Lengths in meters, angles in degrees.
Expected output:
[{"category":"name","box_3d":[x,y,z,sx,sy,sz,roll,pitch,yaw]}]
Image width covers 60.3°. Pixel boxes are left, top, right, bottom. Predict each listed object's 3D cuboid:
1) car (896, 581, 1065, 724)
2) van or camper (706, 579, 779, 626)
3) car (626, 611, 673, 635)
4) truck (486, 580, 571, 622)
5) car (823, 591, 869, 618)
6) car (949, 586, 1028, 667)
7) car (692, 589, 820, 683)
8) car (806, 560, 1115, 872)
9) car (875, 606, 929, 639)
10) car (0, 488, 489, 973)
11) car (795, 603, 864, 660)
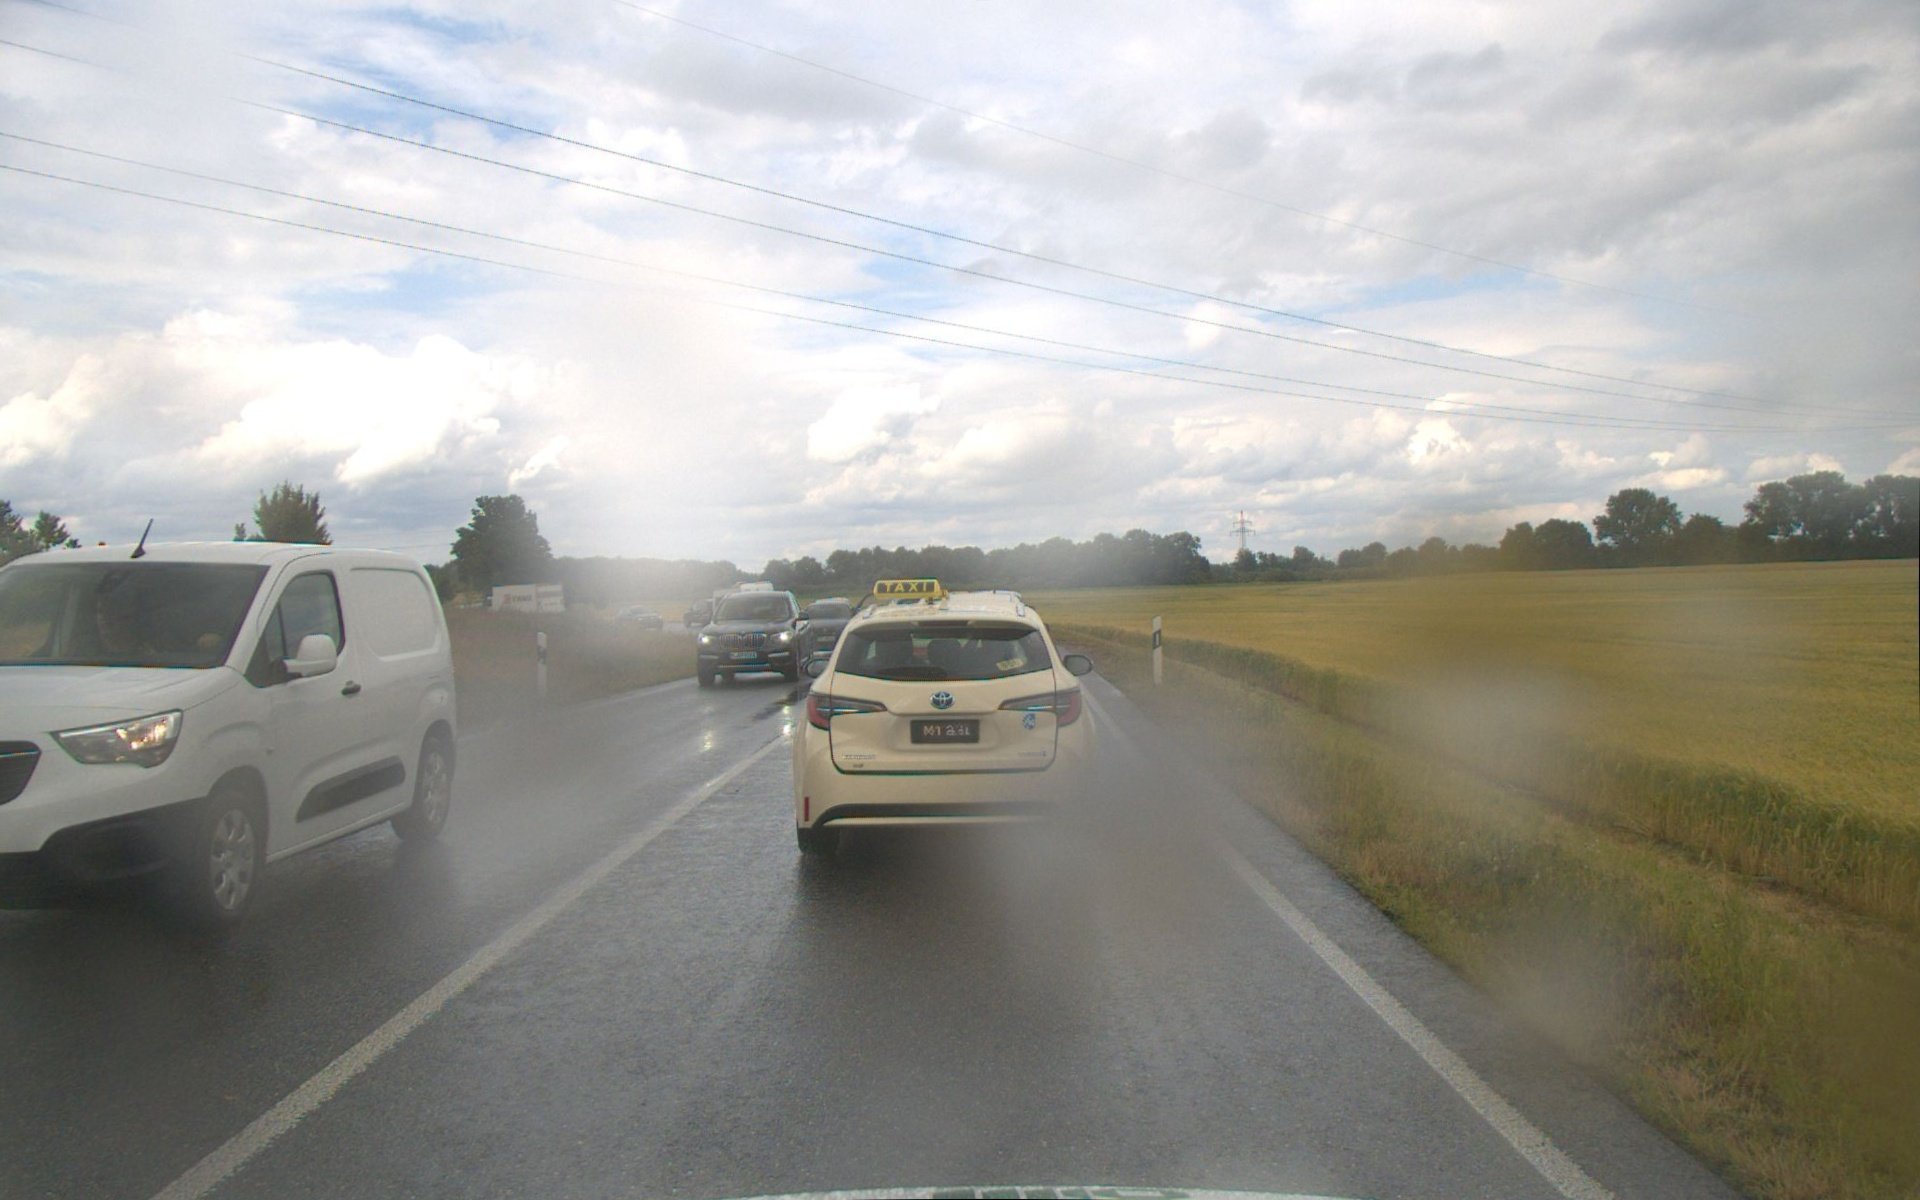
[{"category":"car","box_3d":[0.193,0.574,20.138,1.804,1.518,4.607,1,0,-1]},{"category":"van or camper","box_3d":[-14.254,0.166,108.015,2.508,2.946,6.679,1,0,-28]},{"category":"car","box_3d":[-21.066,1.538,112.205,1.741,1.586,3.954,2,-2,-33]},{"category":"truck","box_3d":[-35.717,0.099,136.651,8.092,3.266,3.003,0,-2,44]},{"category":"car","box_3d":[-6.378,0.272,92.380,1.755,1.438,3.719,1,-1,-18]},{"category":"car","box_3d":[0.590,0.609,36.833,1.580,1.688,3.737,1,-1,-1]},{"category":"car","box_3d":[-3.809,0.641,31.587,1.810,1.660,4.535,-1,0,1]},{"category":"car","box_3d":[0.032,0.646,10.462,1.579,1.590,3.738,1,-1,1]},{"category":"car","box_3d":[-2.705,1.031,75.909,1.924,1.438,4.382,1,-1,-10]},{"category":"car","box_3d":[-4.053,0.528,8.677,1.806,1.888,4.447,0,-1,1]},{"category":"car","box_3d":[-3.635,0.855,46.429,1.812,1.473,4.087,-1,0,-4]}]
